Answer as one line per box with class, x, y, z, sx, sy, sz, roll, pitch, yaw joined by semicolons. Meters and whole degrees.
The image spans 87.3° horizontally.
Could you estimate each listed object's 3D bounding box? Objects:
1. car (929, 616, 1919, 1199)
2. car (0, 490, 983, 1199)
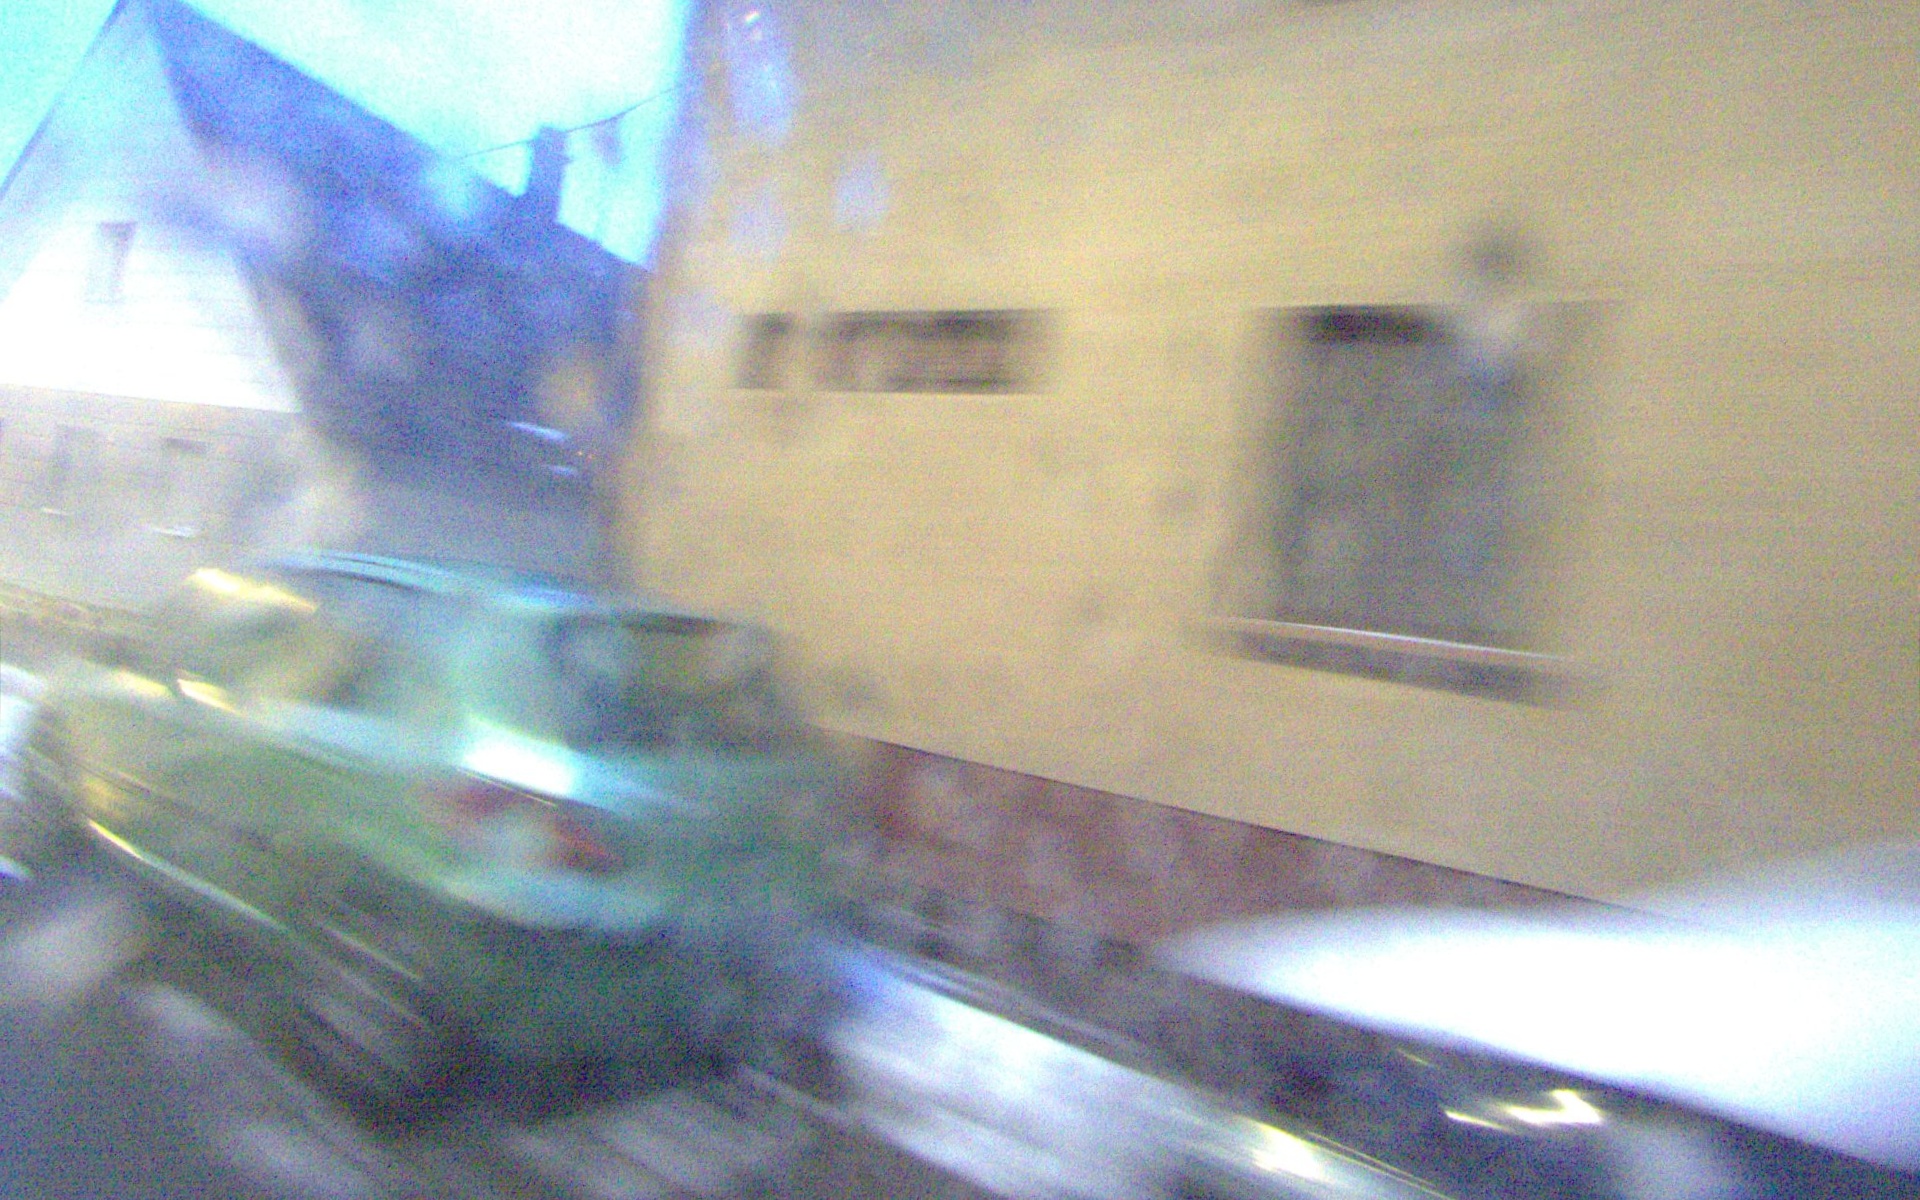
car;2.034;1.039;1.453;3.843;1.517;1.719;6;-1;32
car;-2.258;0.520;4.224;4.212;1.498;1.914;6;-2;33
